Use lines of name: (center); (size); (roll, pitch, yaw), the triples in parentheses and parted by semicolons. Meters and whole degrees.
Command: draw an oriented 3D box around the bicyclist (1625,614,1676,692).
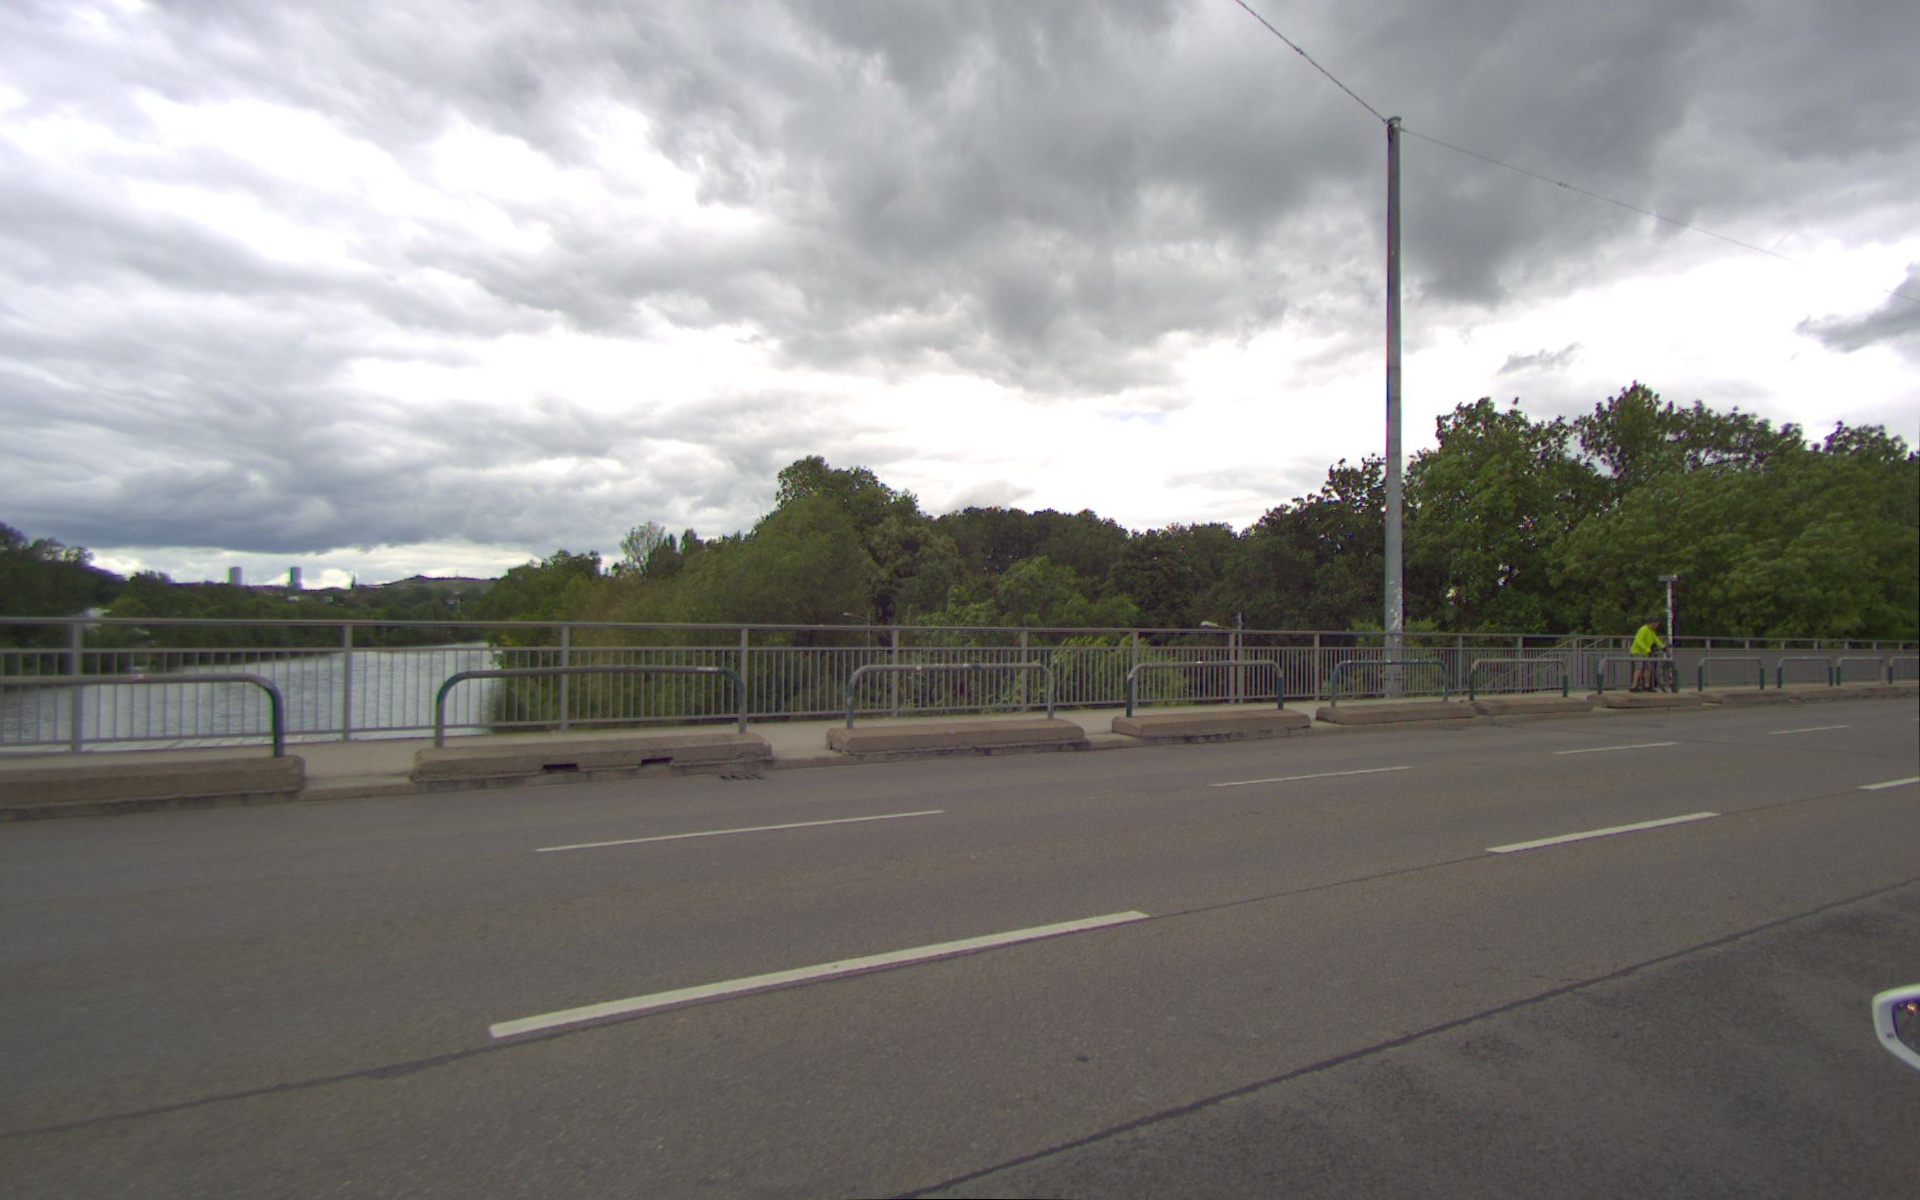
bicyclist: (16.386, 1.244, 23.851); (0.889, 1.788, 1.134); (0, -1, 30)

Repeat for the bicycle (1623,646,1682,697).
bicycle: (16.333, 1.663, 23.761); (0.904, 1.065, 2.795); (0, -1, 30)
